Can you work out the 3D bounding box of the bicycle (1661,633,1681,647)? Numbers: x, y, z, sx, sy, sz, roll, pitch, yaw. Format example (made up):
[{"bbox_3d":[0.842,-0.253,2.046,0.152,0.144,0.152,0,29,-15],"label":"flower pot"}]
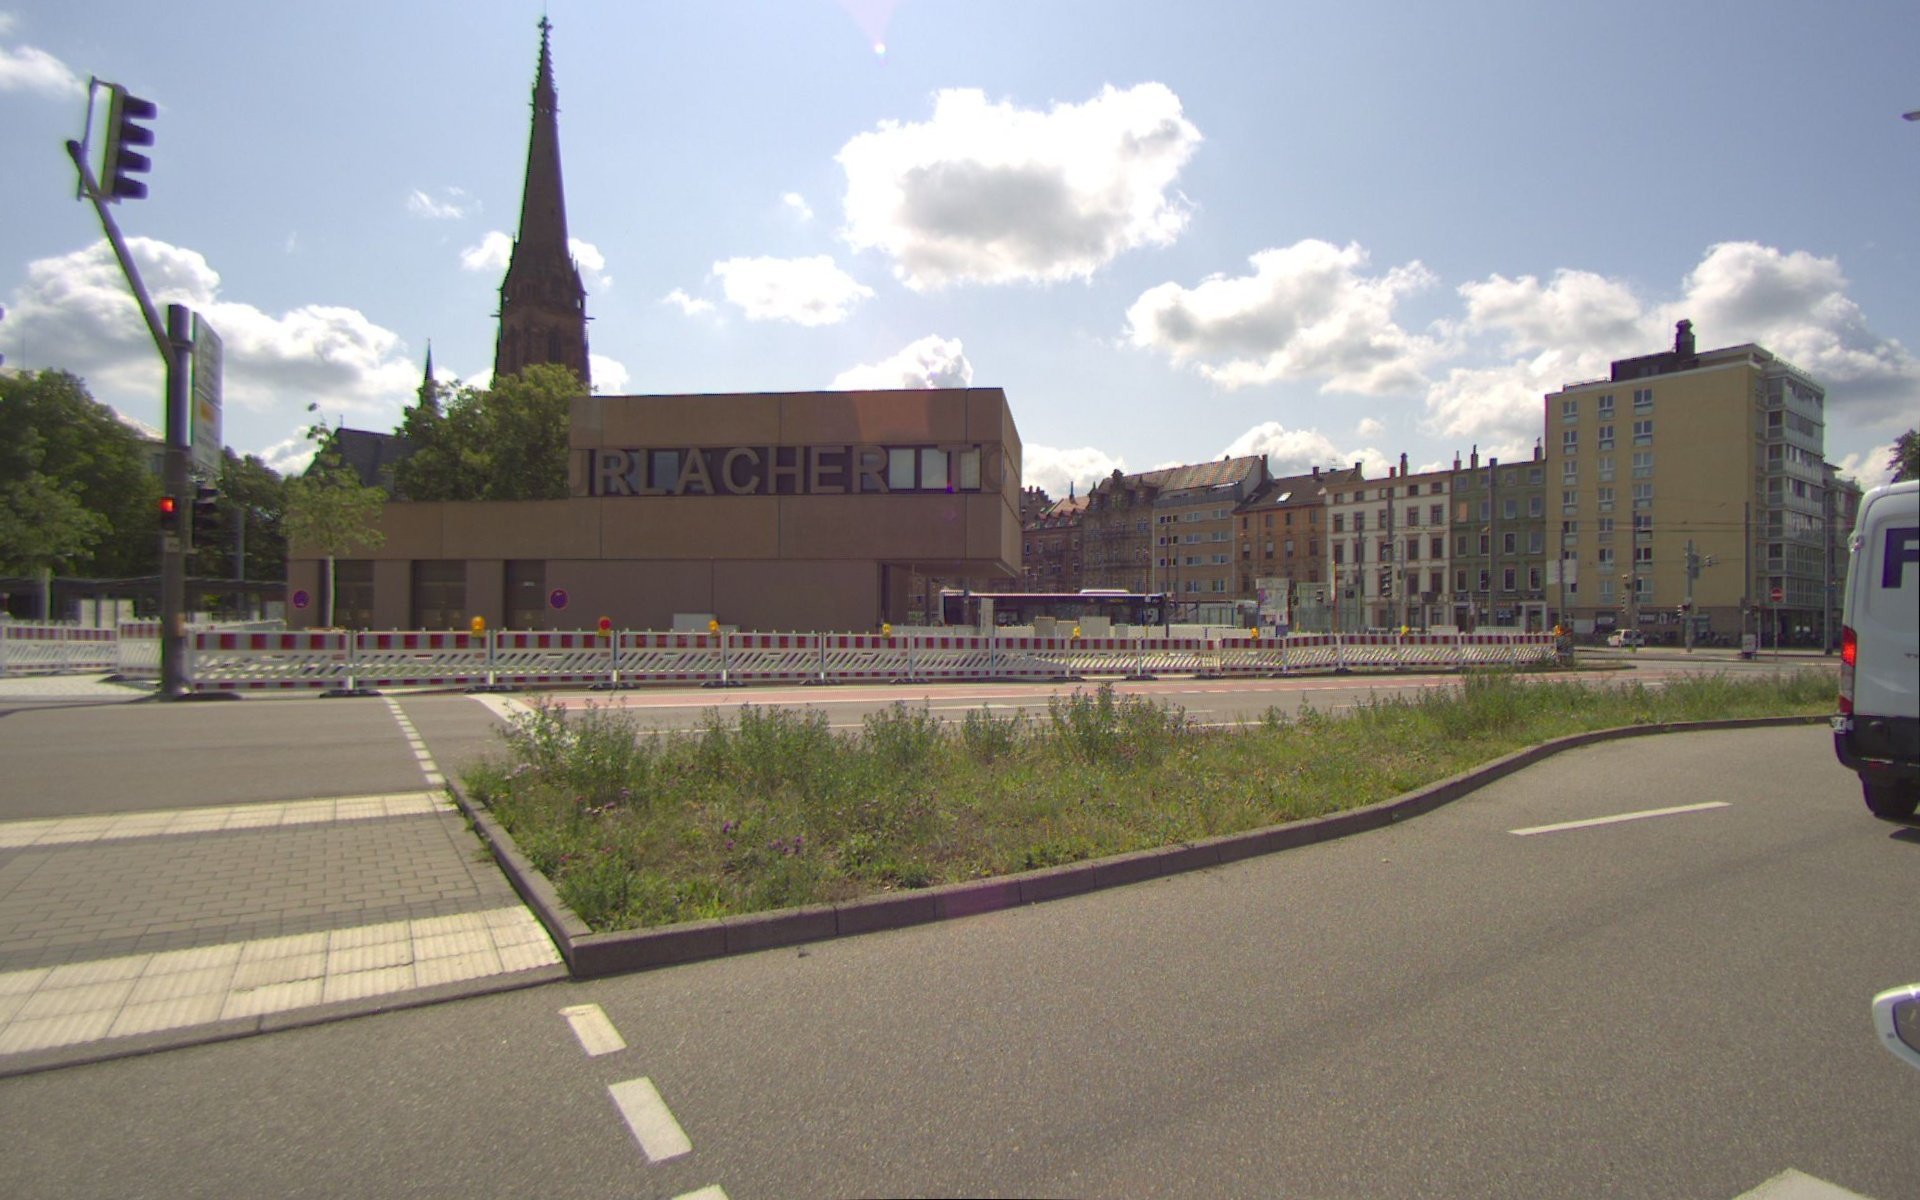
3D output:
[{"bbox_3d":[60.132,3.366,84.979,0.501,1.162,2.136,2,-1,9],"label":"bicycle"}]

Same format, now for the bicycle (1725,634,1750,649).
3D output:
[{"bbox_3d":[63.195,3.367,81.647,0.501,1.162,2.136,2,-1,6],"label":"bicycle"}]

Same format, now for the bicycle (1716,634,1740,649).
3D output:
[{"bbox_3d":[62.617,3.350,81.930,0.523,1.162,2.136,2,-1,7],"label":"bicycle"}]

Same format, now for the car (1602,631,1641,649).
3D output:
[{"bbox_3d":[53.140,3.191,80.762,1.625,1.338,3.358,0,-1,15],"label":"car"}]

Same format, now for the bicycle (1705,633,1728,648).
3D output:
[{"bbox_3d":[62.032,3.334,82.374,0.501,1.162,2.136,2,-1,6],"label":"bicycle"}]

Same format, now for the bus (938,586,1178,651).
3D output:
[{"bbox_3d":[5.048,0.938,52.316,12.018,2.897,2.597,2,-1,7],"label":"bus"}]

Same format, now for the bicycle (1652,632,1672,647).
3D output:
[{"bbox_3d":[59.640,3.360,85.326,0.501,1.162,2.136,2,-1,9],"label":"bicycle"}]

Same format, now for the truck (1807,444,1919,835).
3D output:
[{"bbox_3d":[9.242,0.354,8.088,5.855,2.675,2.124,2,-1,-33],"label":"truck"}]

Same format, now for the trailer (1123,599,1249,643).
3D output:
[{"bbox_3d":[22.420,2.019,100.961,2.683,4.022,13.894,2,-1,-37],"label":"trailer"}]

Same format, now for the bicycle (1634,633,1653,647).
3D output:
[{"bbox_3d":[58.820,3.423,86.472,0.501,1.162,2.136,2,-1,9],"label":"bicycle"}]

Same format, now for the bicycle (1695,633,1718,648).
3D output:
[{"bbox_3d":[61.476,3.358,82.718,0.501,1.162,2.136,2,-1,6],"label":"bicycle"}]

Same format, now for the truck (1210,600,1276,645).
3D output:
[{"bbox_3d":[26.758,2.098,95.189,2.684,4.022,5.392,2,-1,-37],"label":"truck"}]
